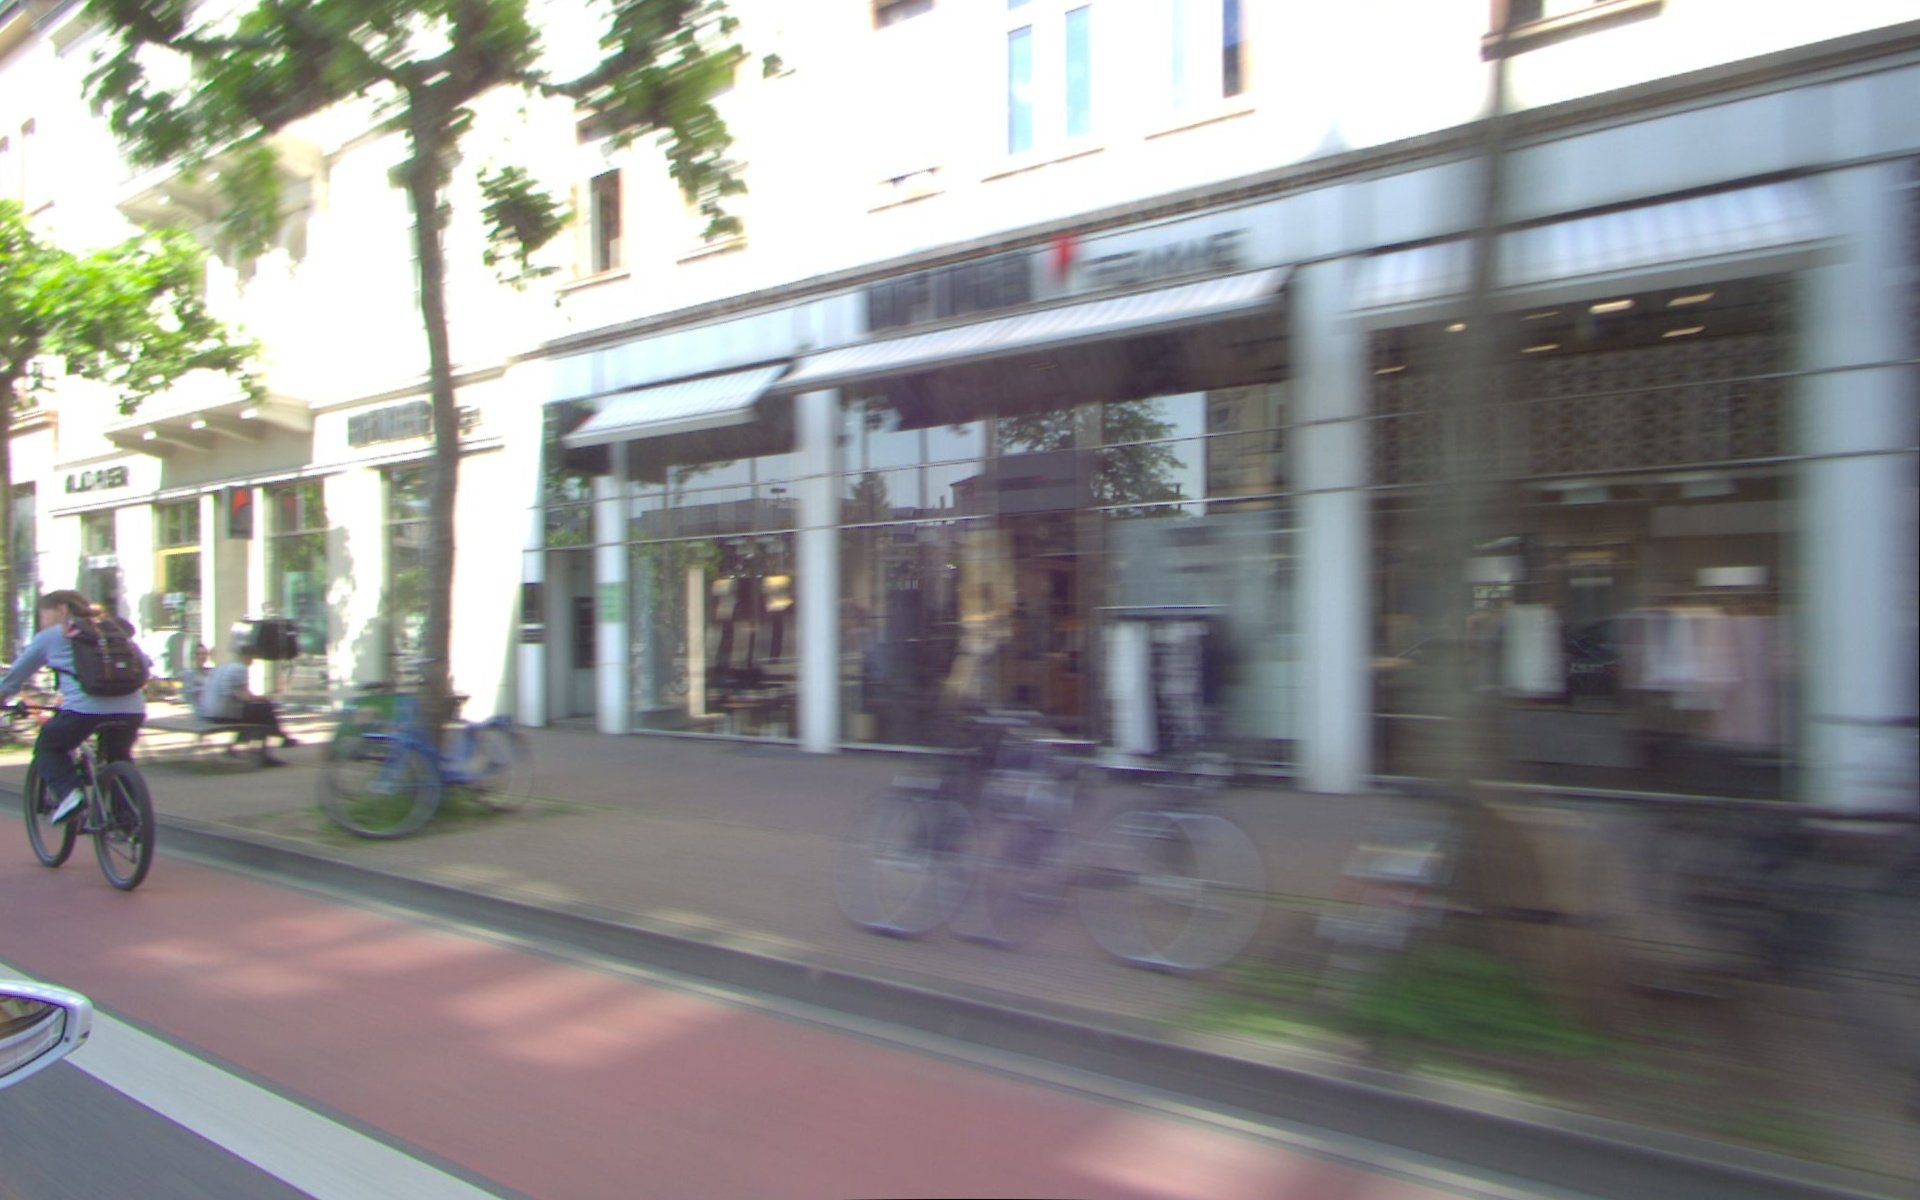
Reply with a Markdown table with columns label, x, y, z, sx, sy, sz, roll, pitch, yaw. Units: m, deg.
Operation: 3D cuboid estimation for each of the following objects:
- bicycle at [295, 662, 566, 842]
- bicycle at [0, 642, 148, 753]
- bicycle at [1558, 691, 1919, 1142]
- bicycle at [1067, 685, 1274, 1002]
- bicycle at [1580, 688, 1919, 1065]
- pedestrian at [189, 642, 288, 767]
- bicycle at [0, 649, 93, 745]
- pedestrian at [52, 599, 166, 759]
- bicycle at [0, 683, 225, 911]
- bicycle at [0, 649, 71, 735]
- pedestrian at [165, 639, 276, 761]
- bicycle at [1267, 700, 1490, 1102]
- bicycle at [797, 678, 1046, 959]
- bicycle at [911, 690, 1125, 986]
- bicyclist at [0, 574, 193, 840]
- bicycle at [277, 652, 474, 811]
| label | x | y | z | sx | sy | sz | roll | pitch | yaw |
| --- | --- | --- | --- | --- | --- | --- | --- | --- | --- |
| bicycle | -3.838 | 1.050 | 7.452 | 0.489 | 1.141 | 1.843 | 1 | -3 | 23 |
| bicycle | -10.608 | 1.096 | 11.537 | 0.665 | 1.212 | 1.834 | -1 | -2 | 38 |
| bicycle | 2.867 | 0.927 | 3.262 | 0.582 | 1.141 | 1.846 | -1 | -2 | -5 |
| bicycle | 1.068 | 0.987 | 4.724 | 0.752 | 1.140 | 1.845 | -1 | -4 | 18 |
| bicycle | 3.290 | 0.969 | 3.878 | 0.439 | 1.141 | 1.846 | -1 | -2 | -6 |
| pedestrian | -7.506 | 1.069 | 10.425 | 0.588 | 1.248 | 0.639 | -2 | -2 | 28 |
| bicycle | -11.592 | 1.150 | 11.937 | 0.492 | 1.141 | 1.832 | -1 | -3 | 41 |
| pedestrian | -9.546 | 0.866 | 11.238 | 0.830 | 1.710 | 0.639 | 1 | -3 | 28 |
| bicycle | -5.446 | 1.113 | 6.112 | 2.049 | 1.141 | 0.698 | -1 | -3 | 28 |
| bicycle | -12.858 | 1.195 | 13.000 | 0.783 | 1.111 | 1.835 | -1 | -2 | 36 |
| pedestrian | -8.004 | 1.059 | 10.855 | 0.567 | 1.258 | 0.787 | -2 | -2 | 28 |
| bicycle | 1.712 | 0.989 | 3.930 | 0.556 | 1.107 | 1.838 | -1 | -3 | 30 |
| bicycle | -0.100 | 0.982 | 5.150 | 0.621 | 1.140 | 1.844 | -1 | -4 | 20 |
| bicycle | 0.371 | 1.039 | 4.981 | 0.555 | 1.107 | 1.843 | 0 | -3 | 20 |
| bicyclist | -5.312 | 0.613 | 6.055 | 0.946 | 1.463 | 0.698 | -1 | -2 | 27 |
| bicycle | -4.999 | 1.073 | 8.713 | 0.566 | 1.212 | 1.781 | 0 | -2 | 4 |
